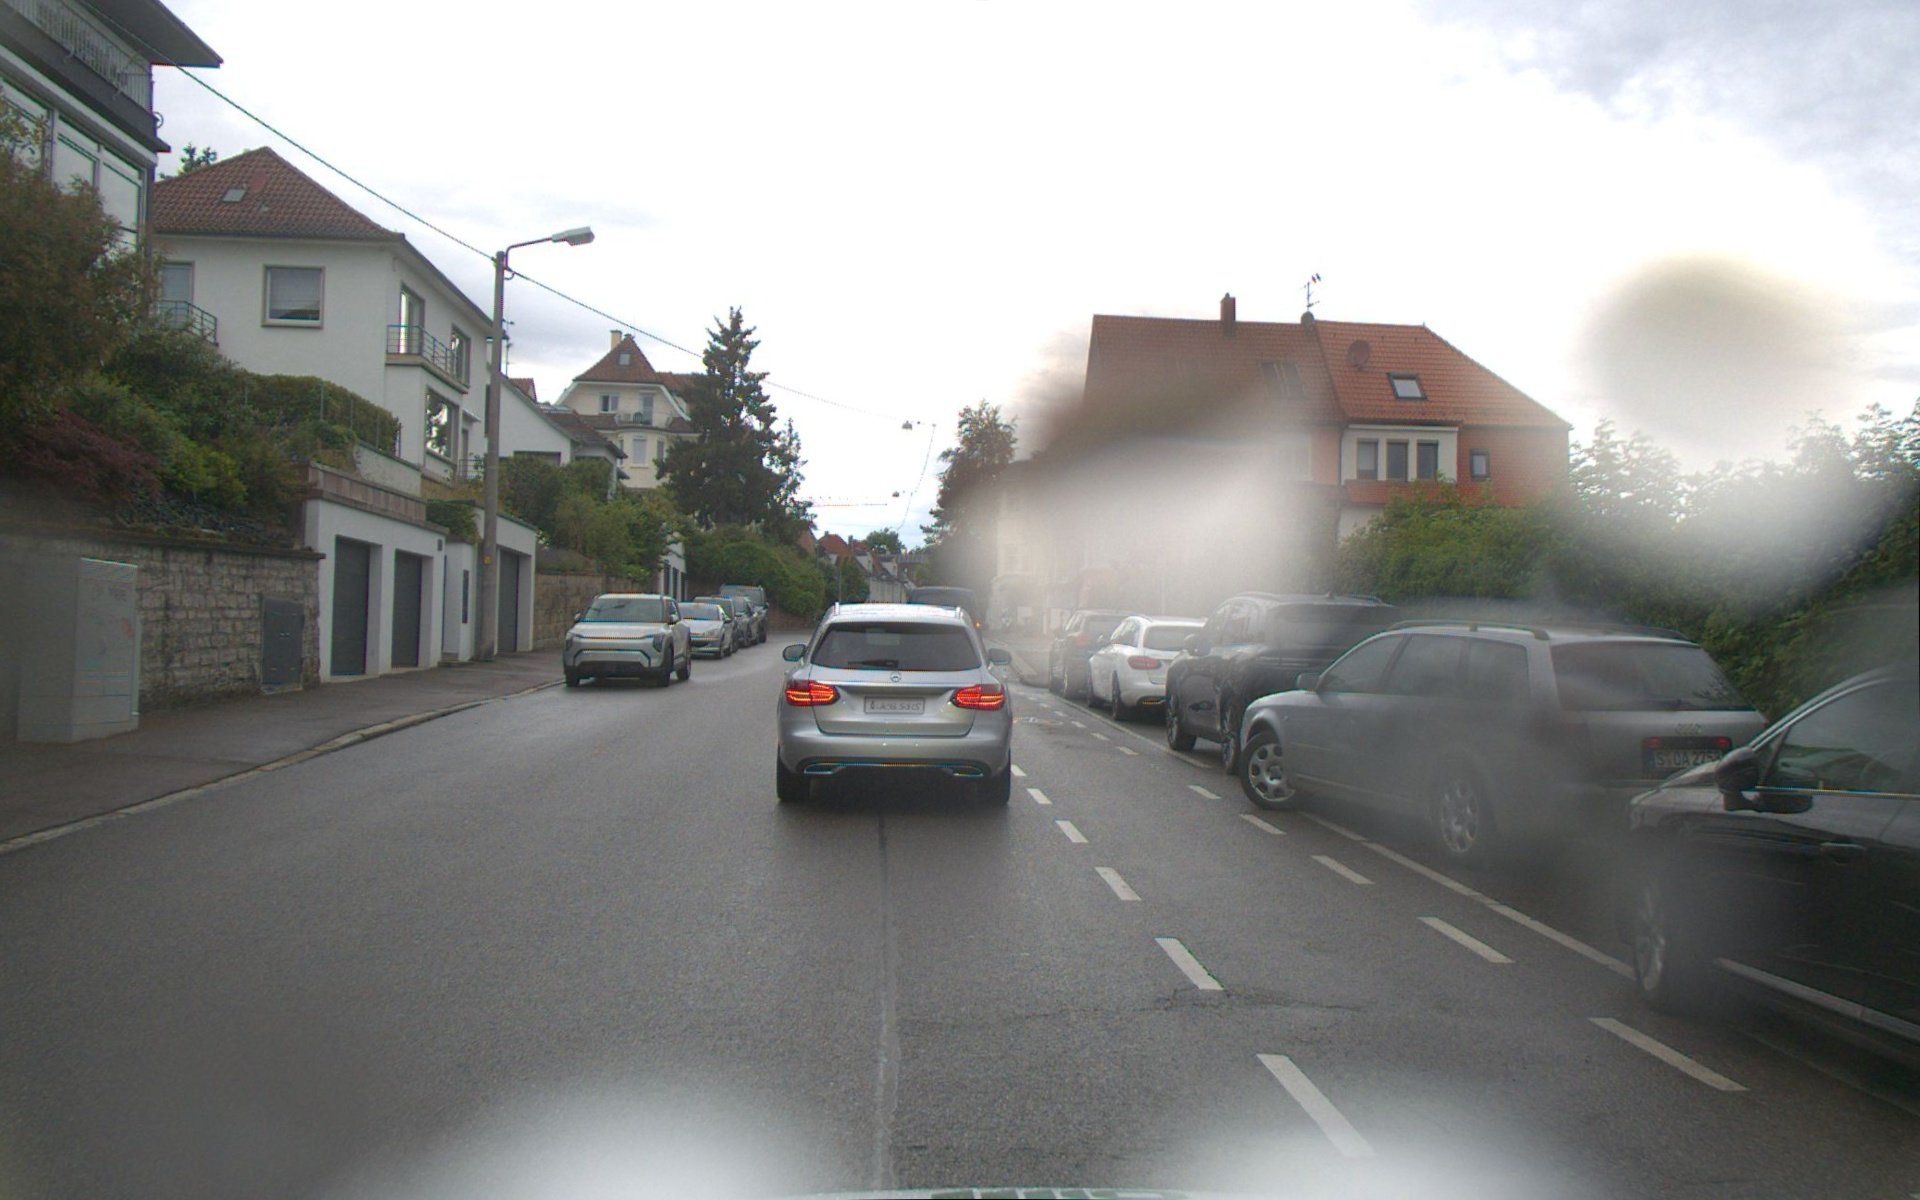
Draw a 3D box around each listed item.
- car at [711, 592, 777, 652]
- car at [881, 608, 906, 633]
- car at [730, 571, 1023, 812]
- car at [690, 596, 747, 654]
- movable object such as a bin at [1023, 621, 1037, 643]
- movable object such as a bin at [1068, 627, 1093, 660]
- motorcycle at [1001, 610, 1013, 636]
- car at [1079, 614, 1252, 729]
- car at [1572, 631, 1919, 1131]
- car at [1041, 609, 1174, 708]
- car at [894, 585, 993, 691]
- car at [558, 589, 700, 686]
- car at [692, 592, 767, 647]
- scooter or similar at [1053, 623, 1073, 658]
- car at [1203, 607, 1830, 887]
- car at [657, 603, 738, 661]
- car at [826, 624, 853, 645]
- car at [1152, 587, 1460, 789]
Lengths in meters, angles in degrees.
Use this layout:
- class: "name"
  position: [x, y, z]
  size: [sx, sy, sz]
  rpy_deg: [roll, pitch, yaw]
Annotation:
- class: "car"
  position: [-7.544, 0.752, 58.316]
  size: [2.088, 1.892, 5.586]
  rpy_deg: [3, -1, -6]
- class: "car"
  position: [-6.602, 2.061, 164.980]
  size: [2.417, 2.442, 3.998]
  rpy_deg: [-1, -1, -3]
- class: "car"
  position: [-0.603, 0.640, 13.359]
  size: [1.942, 1.581, 4.296]
  rpy_deg: [1, -1, -1]
- class: "car"
  position: [-6.940, 0.697, 47.653]
  size: [1.468, 1.550, 3.154]
  rpy_deg: [2, 0, -7]
- class: "movable object such as a bin"
  position: [3.115, 1.421, 73.692]
  size: [0.538, 0.952, 0.633]
  rpy_deg: [-1, -1, -2]
- class: "movable object such as a bin"
  position: [3.941, 1.428, 54.060]
  size: [0.697, 1.048, 0.757]
  rpy_deg: [0, -1, -4]
- class: "motorcycle"
  position: [2.341, 1.165, 83.156]
  size: [0.570, 1.284, 2.331]
  rpy_deg: [0, -1, 0]
- class: "car"
  position: [2.891, 0.971, 24.239]
  size: [1.679, 1.430, 4.605]
  rpy_deg: [3, 0, -3]
- class: "car"
  position: [3.610, 0.848, 5.315]
  size: [1.654, 1.447, 3.981]
  rpy_deg: [2, -1, -3]
- class: "car"
  position: [2.561, 1.001, 29.615]
  size: [1.719, 1.557, 4.203]
  rpy_deg: [3, -1, -3]
- class: "car"
  position: [-0.300, 0.691, 32.738]
  size: [1.787, 1.915, 4.095]
  rpy_deg: [-2, 0, 0]
- class: "car"
  position: [-5.927, 0.646, 30.079]
  size: [1.860, 1.595, 4.235]
  rpy_deg: [1, 0, -3]
- class: "car"
  position: [-7.243, 0.608, 52.313]
  size: [1.860, 1.541, 4.340]
  rpy_deg: [3, 0, -3]
- class: "scooter or similar"
  position: [3.842, 1.508, 61.737]
  size: [0.678, 1.245, 1.300]
  rpy_deg: [2, -1, 5]
- class: "car"
  position: [3.477, 0.843, 11.439]
  size: [1.770, 1.465, 4.621]
  rpy_deg: [2, 0, -16]
- class: "car"
  position: [-6.767, 0.798, 42.885]
  size: [1.577, 1.361, 3.839]
  rpy_deg: [3, 0, -2]
- class: "car"
  position: [-9.599, 2.746, 132.059]
  size: [2.075, 1.497, 4.014]
  rpy_deg: [2, -1, -4]
- class: "car"
  position: [3.319, 0.791, 16.833]
  size: [1.850, 1.691, 4.544]
  rpy_deg: [3, -1, -4]
